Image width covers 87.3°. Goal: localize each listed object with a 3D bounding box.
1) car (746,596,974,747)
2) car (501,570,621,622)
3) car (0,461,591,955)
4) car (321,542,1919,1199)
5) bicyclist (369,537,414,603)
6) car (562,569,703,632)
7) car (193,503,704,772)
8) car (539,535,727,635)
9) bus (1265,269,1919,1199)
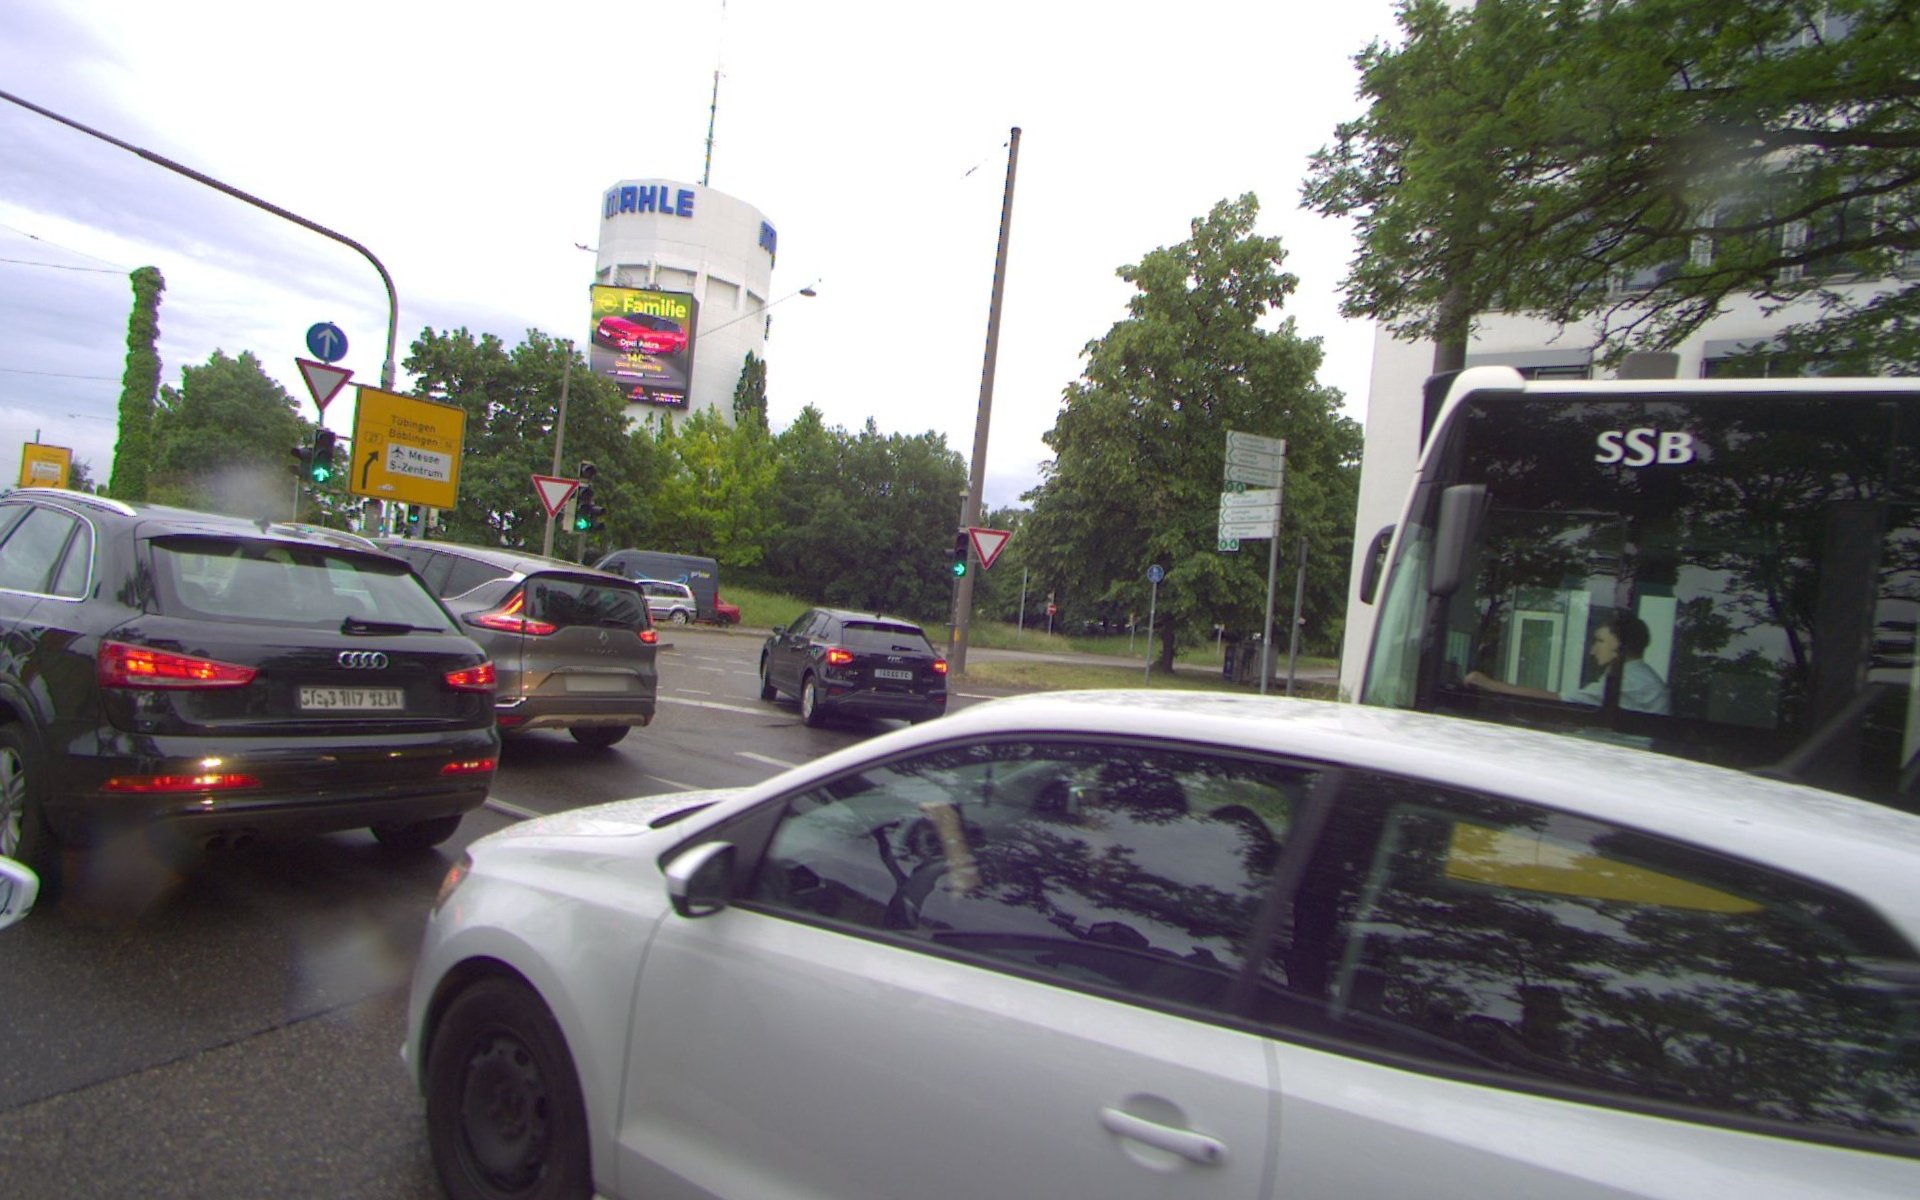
[{"bbox_3d":[-1.582,0.893,14.173,1.848,1.515,4.128,9,-1,-24],"label":"car"},{"bbox_3d":[-16.423,-0.163,41.479,4.112,1.582,1.852,8,-2,-38],"label":"car"},{"bbox_3d":[-4.115,0.293,5.142,4.044,1.613,1.889,6,-3,30],"label":"car"},{"bbox_3d":[0.344,0.797,2.421,3.752,1.448,1.743,5,-3,35],"label":"car"},{"bbox_3d":[-14.931,-0.777,26.407,0.803,1.602,1.015,8,-2,-32],"label":"bicyclist"},{"bbox_3d":[-10.954,0.036,33.778,4.027,1.586,1.855,8,-4,-36],"label":"car"},{"bbox_3d":[-4.743,0.247,9.177,4.488,1.694,1.869,7,-1,30],"label":"car"},{"bbox_3d":[-11.834,-0.465,36.637,5.971,2.772,2.065,8,-3,-33],"label":"car"},{"bbox_3d":[7.304,0.978,2.532,11.943,3.187,2.733,7,-2,31],"label":"bus"}]
